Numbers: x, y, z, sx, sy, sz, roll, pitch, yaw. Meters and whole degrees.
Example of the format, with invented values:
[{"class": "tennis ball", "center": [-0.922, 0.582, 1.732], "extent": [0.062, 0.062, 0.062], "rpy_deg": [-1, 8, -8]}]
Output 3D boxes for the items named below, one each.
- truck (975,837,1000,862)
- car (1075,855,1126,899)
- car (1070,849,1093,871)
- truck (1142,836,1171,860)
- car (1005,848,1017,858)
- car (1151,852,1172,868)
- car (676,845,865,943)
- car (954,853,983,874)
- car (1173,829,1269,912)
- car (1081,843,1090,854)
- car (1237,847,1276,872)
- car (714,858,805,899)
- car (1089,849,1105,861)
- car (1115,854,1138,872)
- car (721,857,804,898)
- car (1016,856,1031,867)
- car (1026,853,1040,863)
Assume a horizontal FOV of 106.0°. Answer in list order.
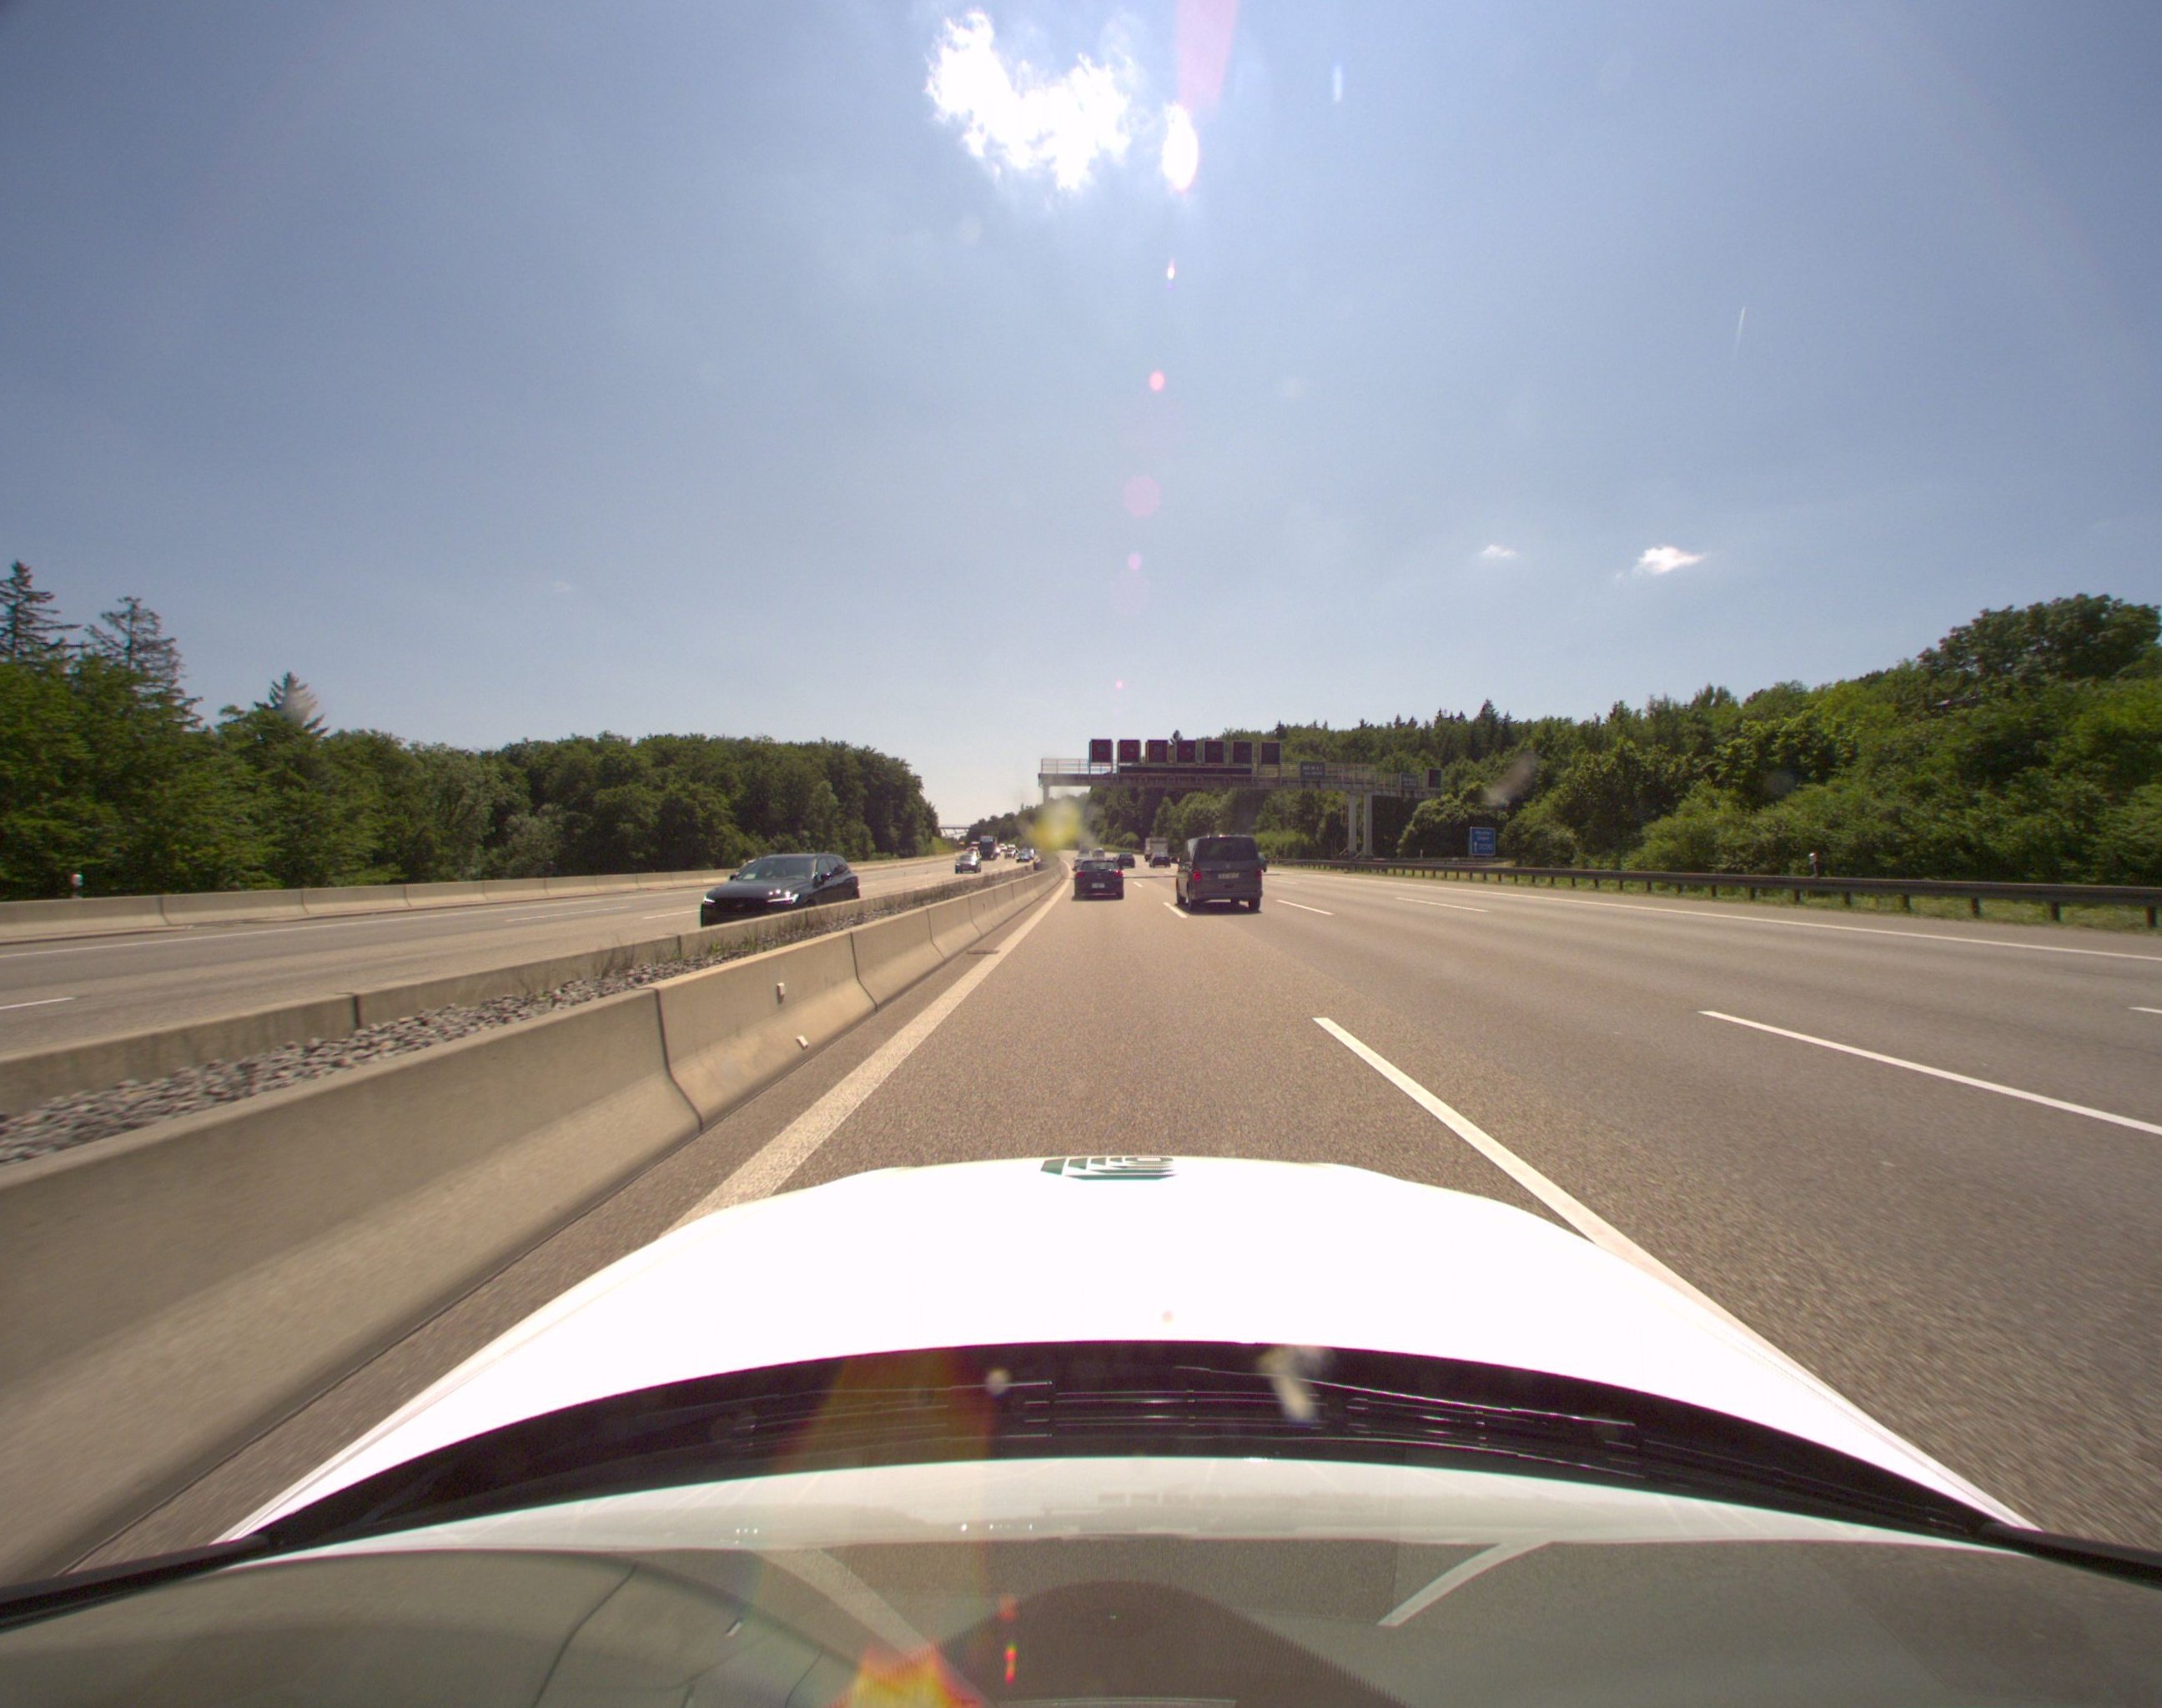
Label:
[{"class": "truck", "center": [-15.908, -0.814, 139.365], "extent": [3.776, 4.177, 5.874], "rpy_deg": [0, 0, -2]}, {"class": "car", "center": [0.673, 0.769, 29.112], "extent": [1.702, 1.433, 4.001], "rpy_deg": [0, 0, 1]}, {"class": "car", "center": [0.028, 0.594, 76.962], "extent": [2.006, 1.846, 3.997], "rpy_deg": [-1, -3, -1]}, {"class": "truck", "center": [10.343, -0.875, 112.207], "extent": [2.978, 3.166, 7.567], "rpy_deg": [-1, 1, -3]}, {"class": "car", "center": [-13.217, -0.199, 153.554], "extent": [1.989, 1.967, 4.779], "rpy_deg": [-1, 0, -3]}, {"class": "car", "center": [7.670, 0.554, 78.202], "extent": [1.659, 1.408, 4.906], "rpy_deg": [-1, 1, 2]}, {"class": "car", "center": [-5.995, 0.701, 16.390], "extent": [1.986, 1.667, 4.435], "rpy_deg": [-1, 0, 1]}, {"class": "car", "center": [-9.487, 0.760, 68.911], "extent": [1.749, 1.635, 4.637], "rpy_deg": [-1, 1, 0]}, {"class": "car", "center": [3.795, 0.422, 22.987], "extent": [1.955, 2.033, 5.085], "rpy_deg": [-1, 0, 2]}, {"class": "car", "center": [1.052, -1.302, 195.602], "extent": [2.257, 2.371, 4.701], "rpy_deg": [-1, 0, 0]}, {"class": "car", "center": [12.631, 0.376, 58.803], "extent": [1.986, 1.728, 4.001], "rpy_deg": [-1, 0, 2]}, {"class": "car", "center": [-13.340, 0.963, 34.110], "extent": [1.987, 1.532, 4.379], "rpy_deg": [0, 0, 1]}, {"class": "car", "center": [2.423, 0.097, 124.456], "extent": [2.097, 1.744, 4.685], "rpy_deg": [-1, 1, -1]}, {"class": "car", "center": [4.378, 0.879, 78.729], "extent": [1.987, 1.728, 4.147], "rpy_deg": [-1, -1, 0]}, {"class": "car", "center": [-13.304, 0.941, 34.288], "extent": [1.711, 1.605, 4.283], "rpy_deg": [-1, 0, 1]}, {"class": "car", "center": [-8.383, 1.076, 118.774], "extent": [1.848, 1.518, 4.518], "rpy_deg": [-1, -1, -2]}, {"class": "car", "center": [-8.035, 0.639, 137.099], "extent": [1.950, 1.518, 5.132], "rpy_deg": [-1, 0, 0]}]
